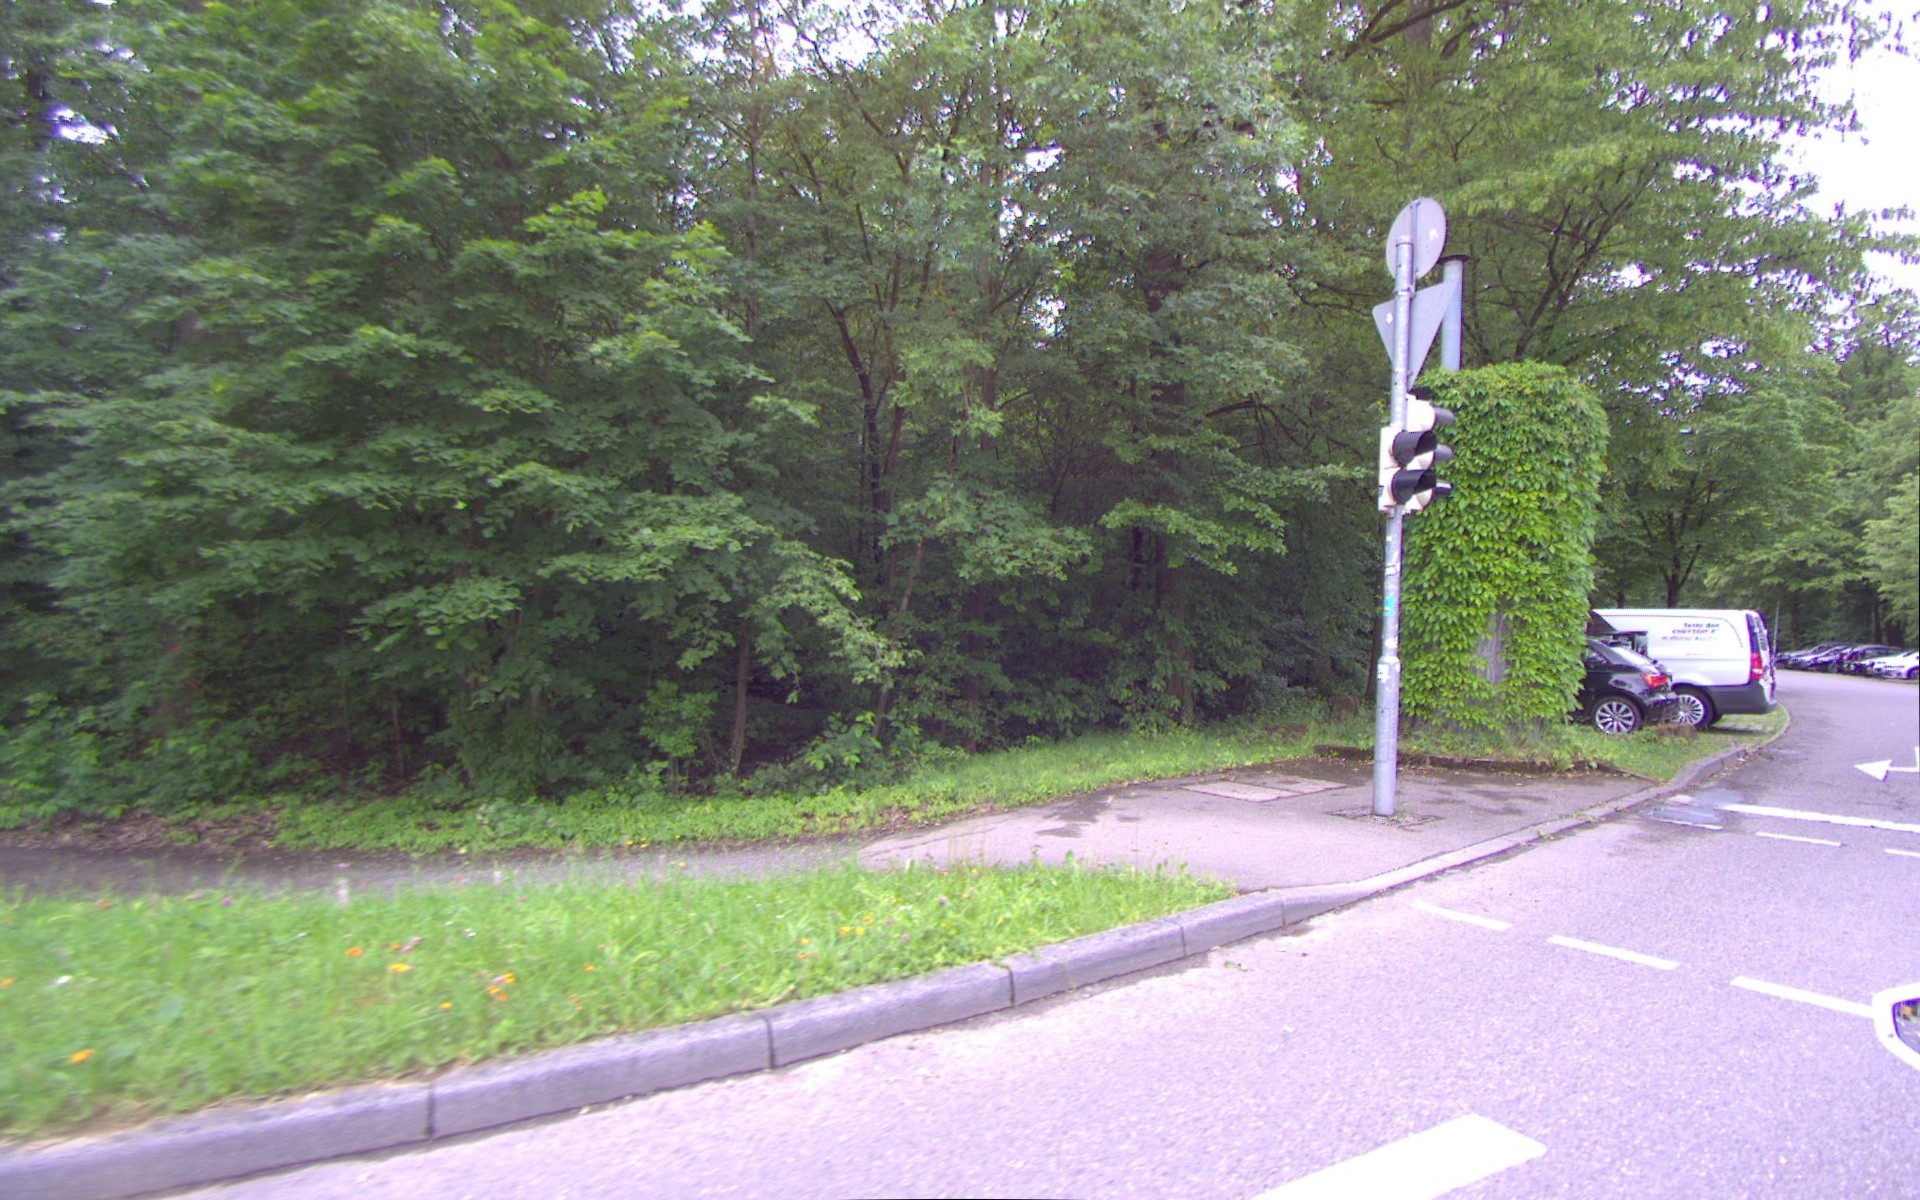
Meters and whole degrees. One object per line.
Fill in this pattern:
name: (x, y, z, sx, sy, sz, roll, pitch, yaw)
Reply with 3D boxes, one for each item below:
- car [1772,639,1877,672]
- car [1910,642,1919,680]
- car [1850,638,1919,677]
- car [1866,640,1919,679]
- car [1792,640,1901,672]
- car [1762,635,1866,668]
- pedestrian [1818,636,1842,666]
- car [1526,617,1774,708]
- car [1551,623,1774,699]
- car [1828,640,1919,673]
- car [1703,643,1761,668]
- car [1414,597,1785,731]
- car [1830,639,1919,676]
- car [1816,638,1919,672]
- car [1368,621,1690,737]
car: (47.883, 3.049, 55.741, 3.922, 1.572, 1.975, 2, -1, 21)
car: (38.704, 2.398, 37.889, 3.733, 1.460, 1.870, 1, 0, 23)
car: (42.166, 2.554, 44.331, 3.951, 1.580, 1.973, 1, 0, 31)
car: (40.909, 2.541, 42.131, 3.915, 1.503, 1.882, 1, 0, 27)
car: (46.911, 2.948, 53.276, 3.926, 1.494, 1.950, 1, -1, 28)
car: (49.196, 2.953, 57.966, 4.200, 1.688, 1.956, 1, -1, 26)
pedestrian: (53.070, 3.087, 61.277, 0.804, 1.748, 1.003, 2, -1, 23)
car: (15.371, 1.311, 22.485, 4.374, 1.717, 2.160, 1, 0, 41)
car: (16.982, 1.417, 24.403, 4.302, 1.619, 2.022, 0, -2, 39)
car: (44.835, 2.745, 48.771, 3.770, 1.476, 1.806, 1, -2, 28)
car: (52.130, 3.736, 67.909, 1.962, 1.498, 4.969, 1, -1, 24)
car: (10.641, 0.952, 16.993, 5.031, 1.941, 1.967, 0, -2, 43)
car: (43.336, 2.680, 46.573, 4.122, 1.532, 1.891, 1, 0, 27)
car: (45.919, 2.748, 50.729, 3.769, 1.551, 1.849, 0, -2, 27)
car: (8.462, 1.086, 15.144, 3.943, 1.397, 1.713, 1, 0, 43)
